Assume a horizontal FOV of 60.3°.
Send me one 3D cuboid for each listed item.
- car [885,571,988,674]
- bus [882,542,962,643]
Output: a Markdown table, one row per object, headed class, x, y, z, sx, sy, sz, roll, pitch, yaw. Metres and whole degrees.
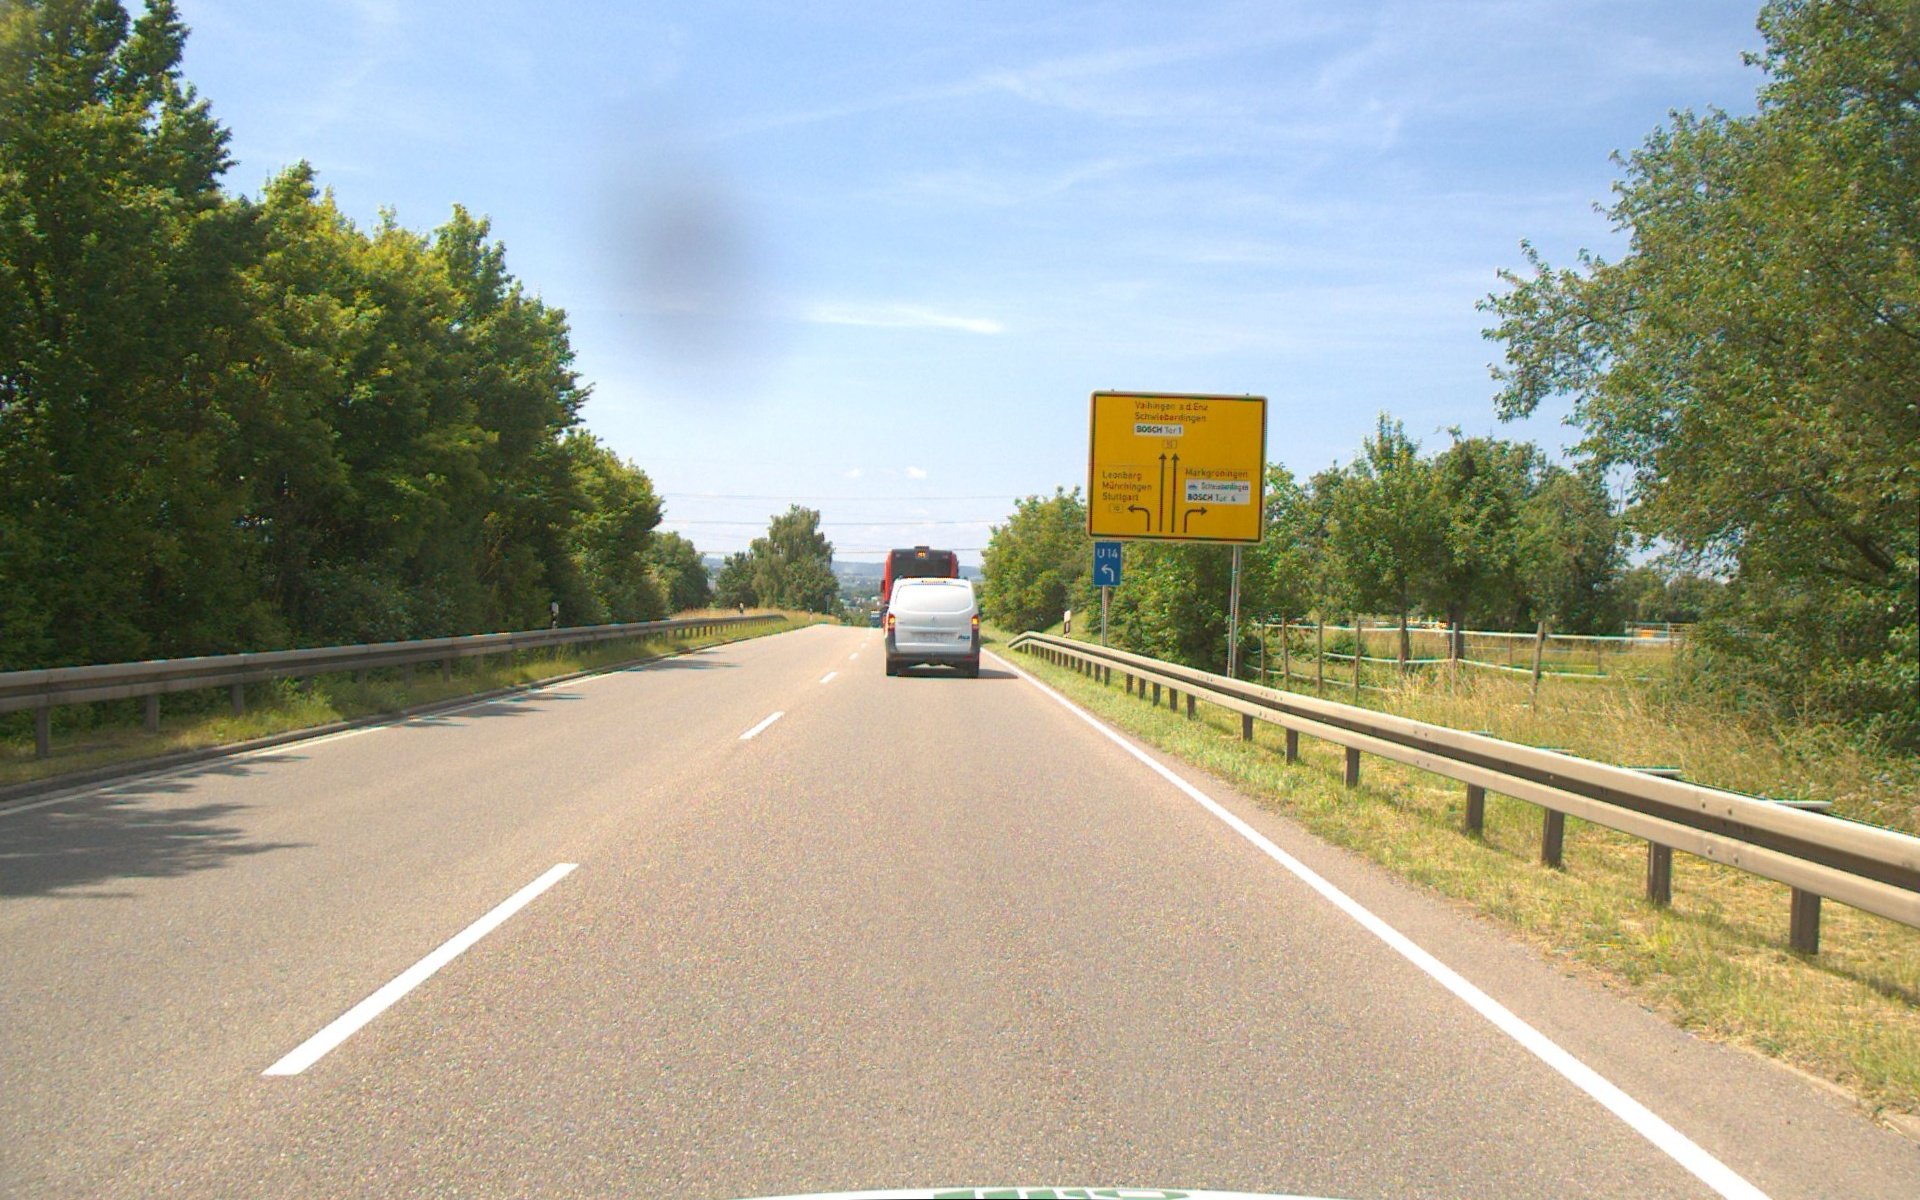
| class | x | y | z | sx | sy | sz | roll | pitch | yaw |
| --- | --- | --- | --- | --- | --- | --- | --- | --- | --- |
| car | -0.534 | 0.396 | 33.456 | 1.885 | 1.922 | 3.998 | 2 | 1 | -3 |
| bus | -1.568 | -0.352 | 62.708 | 2.692 | 3.412 | 13.216 | 0 | 1 | -2 |
